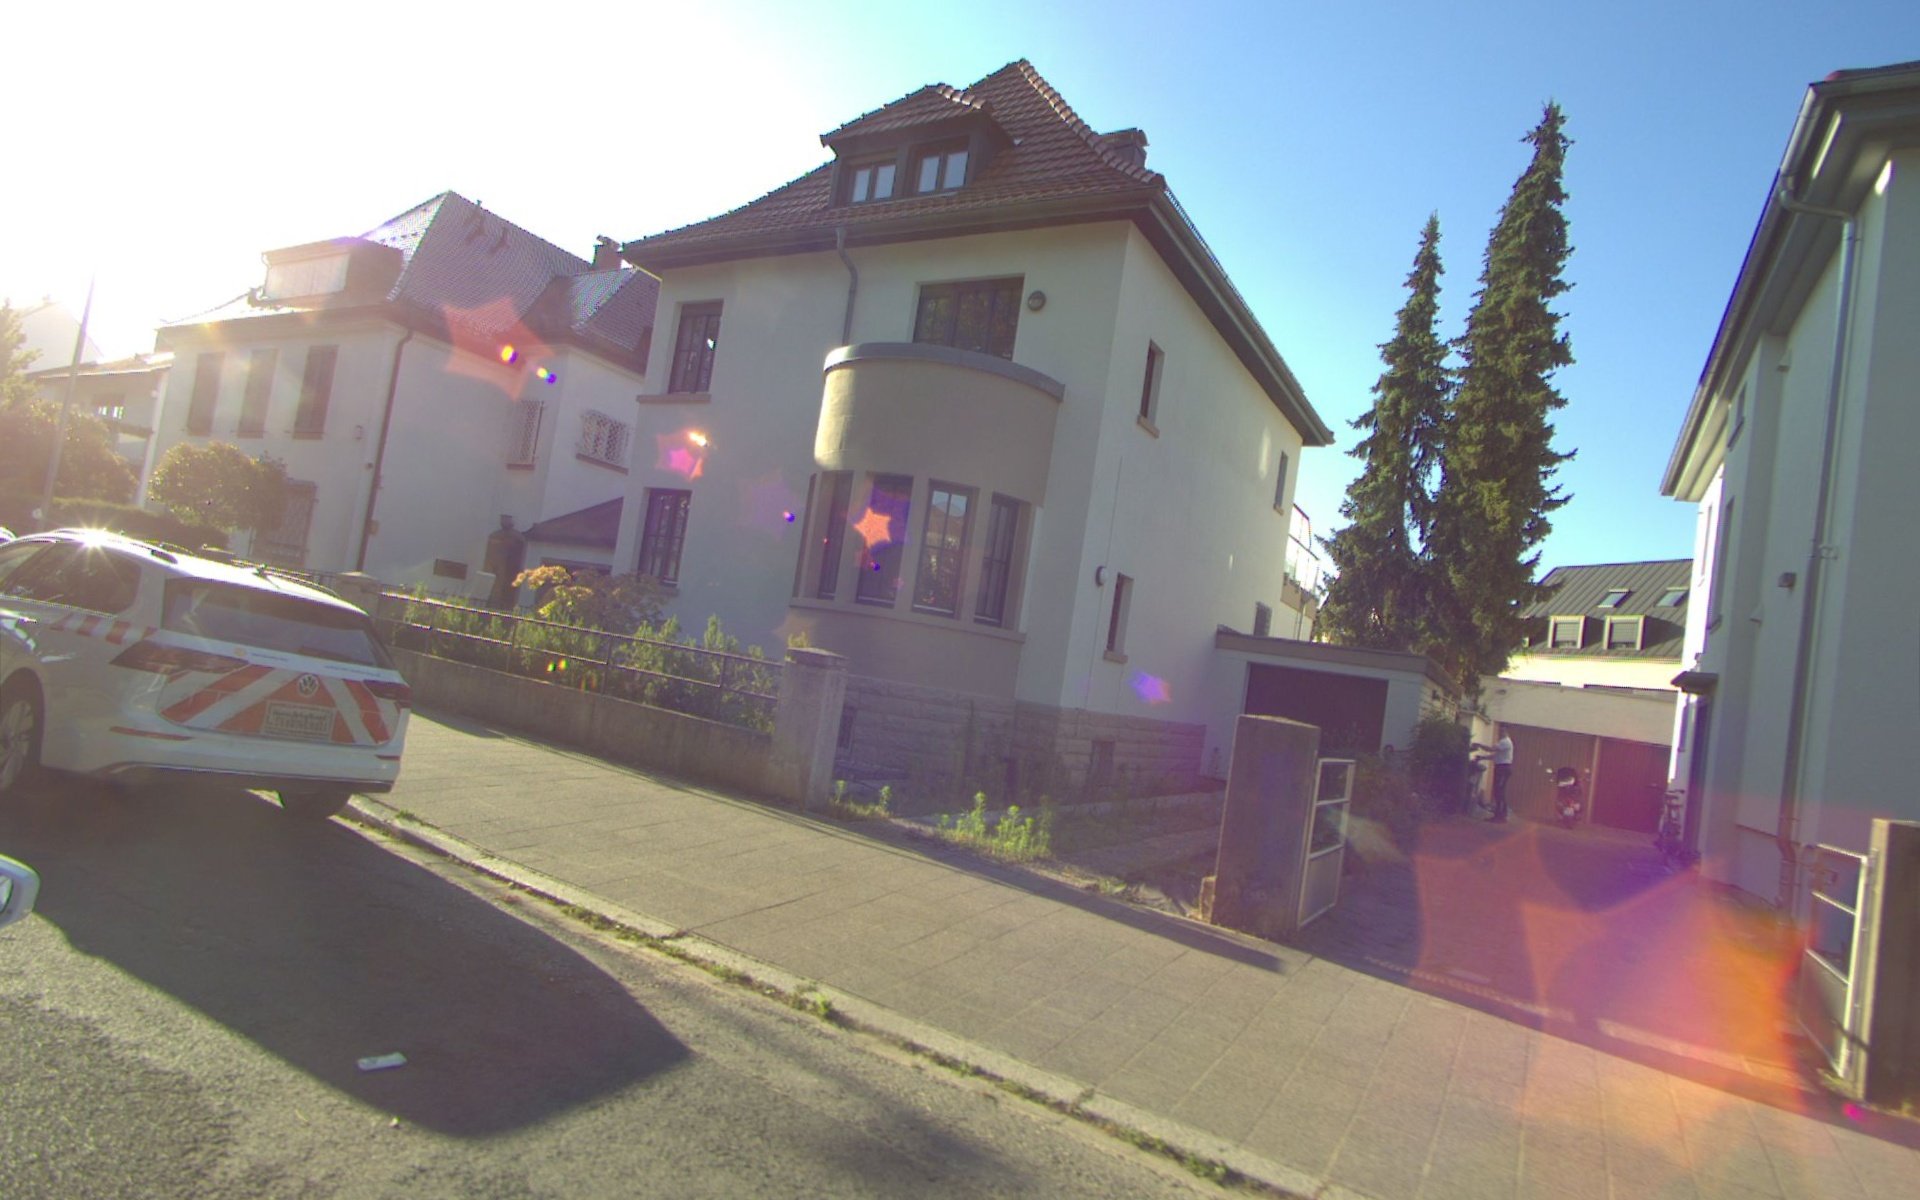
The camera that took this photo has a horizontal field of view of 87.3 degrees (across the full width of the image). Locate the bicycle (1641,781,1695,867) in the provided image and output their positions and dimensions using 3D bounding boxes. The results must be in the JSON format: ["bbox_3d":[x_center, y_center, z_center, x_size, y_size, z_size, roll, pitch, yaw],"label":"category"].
[{"bbox_3d":[11.050,3.467,15.732,0.399,1.154,1.727,7,-4,30],"label":"bicycle"}]

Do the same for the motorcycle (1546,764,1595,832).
[{"bbox_3d":[13.536,4.364,22.350,0.730,1.306,1.876,7,-4,30],"label":"motorcycle"}]

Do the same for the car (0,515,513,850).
[{"bbox_3d":[-5.436,0.394,6.729,4.472,1.477,2.004,7,-7,29],"label":"car"}]

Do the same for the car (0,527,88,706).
[{"bbox_3d":[-10.324,-0.178,9.424,4.517,1.476,1.788,7,-7,32],"label":"car"}]

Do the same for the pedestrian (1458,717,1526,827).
[{"bbox_3d":[10.033,3.223,18.958,0.882,1.865,0.880,7,-3,31],"label":"pedestrian"}]
